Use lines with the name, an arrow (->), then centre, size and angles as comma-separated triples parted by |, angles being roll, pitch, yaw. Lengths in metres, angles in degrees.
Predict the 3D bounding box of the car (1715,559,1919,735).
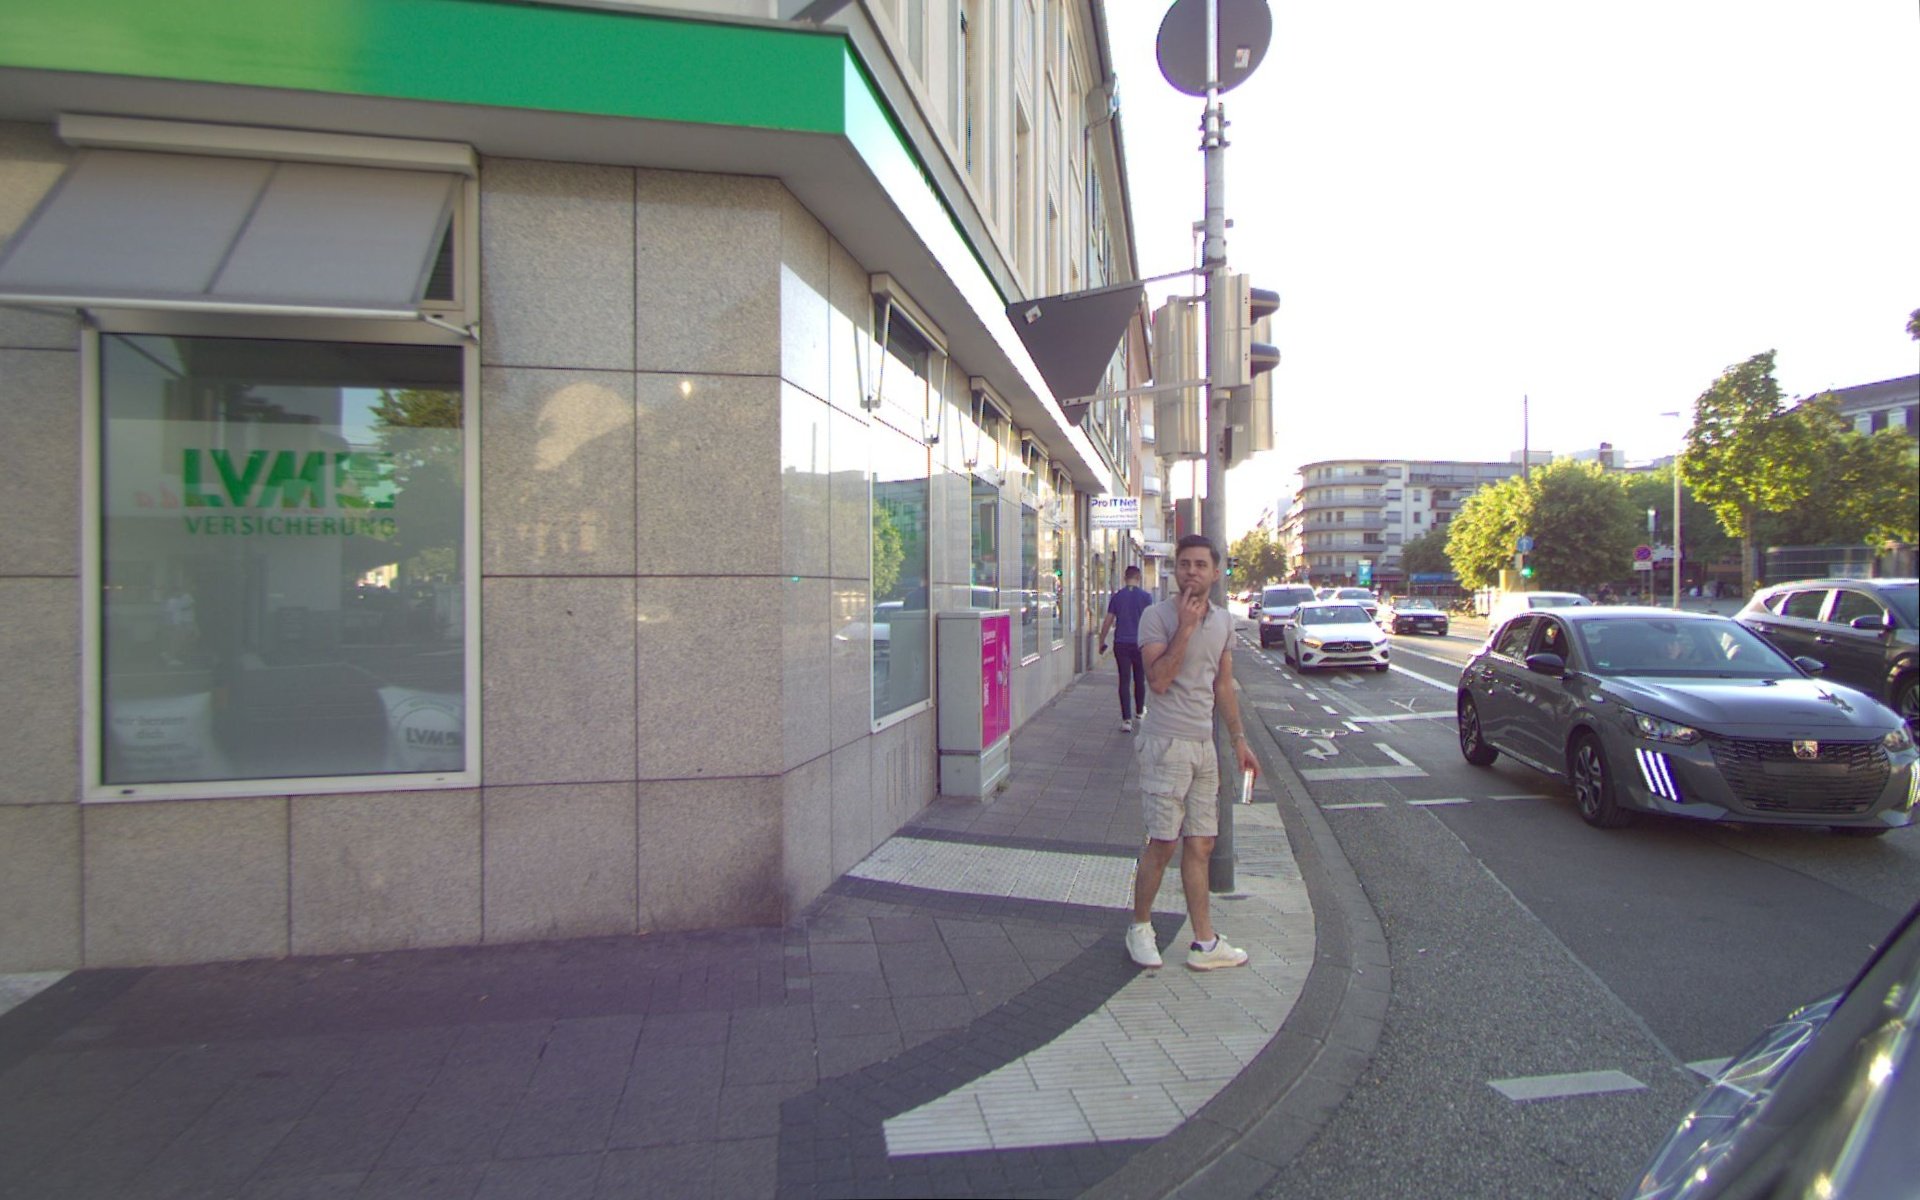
car -> 10.386, 0.440, 10.831 | 1.797, 1.719, 4.251 | 0, 1, 7

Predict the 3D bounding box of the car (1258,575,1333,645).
car -> 10.142, 0.251, 30.864 | 1.801, 1.953, 3.969 | 1, 1, 14

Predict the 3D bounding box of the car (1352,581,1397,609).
car -> 25.176, -0.305, 61.615 | 1.852, 1.623, 3.986 | -1, 1, 12

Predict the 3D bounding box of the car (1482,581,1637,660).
car -> 12.524, 0.376, 21.411 | 1.694, 1.490, 3.968 | -1, 0, 14

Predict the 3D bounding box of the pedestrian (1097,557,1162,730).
pedestrian -> 1.886, 0.452, 11.269 | 0.682, 1.850, 0.878 | 0, 1, 10

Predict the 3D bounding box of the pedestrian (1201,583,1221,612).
pedestrian -> 11.974, -0.110, 48.344 | 0.850, 1.368, 0.558 | 0, 0, 25

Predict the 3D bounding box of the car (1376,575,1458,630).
car -> 15.688, 0.048, 34.940 | 1.801, 1.762, 3.969 | 1, 1, 14

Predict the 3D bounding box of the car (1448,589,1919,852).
car -> 5.183, 0.682, 7.669 | 1.725, 1.461, 3.892 | -1, 0, 12

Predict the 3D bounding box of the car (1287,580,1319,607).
car -> 23.811, -0.460, 70.345 | 1.854, 1.794, 3.982 | -1, 1, 15

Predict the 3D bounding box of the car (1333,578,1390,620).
car -> 17.982, -0.077, 45.438 | 1.801, 1.762, 3.969 | 1, 1, 14

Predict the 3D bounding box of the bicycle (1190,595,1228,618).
bicycle -> 11.868, 0.292, 48.299 | 1.686, 1.070, 0.557 | 0, 0, 25

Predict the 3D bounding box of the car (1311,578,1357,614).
car -> 19.716, -0.217, 53.457 | 1.854, 1.794, 3.982 | -1, 1, 15

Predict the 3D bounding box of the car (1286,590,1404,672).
car -> 8.124, 0.597, 21.692 | 1.801, 1.490, 3.968 | -3, 0, 14

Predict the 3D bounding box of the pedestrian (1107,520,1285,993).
pedestrian -> 0.955, 0.580, 4.179 | 0.643, 1.764, 0.692 | 0, 0, 12
